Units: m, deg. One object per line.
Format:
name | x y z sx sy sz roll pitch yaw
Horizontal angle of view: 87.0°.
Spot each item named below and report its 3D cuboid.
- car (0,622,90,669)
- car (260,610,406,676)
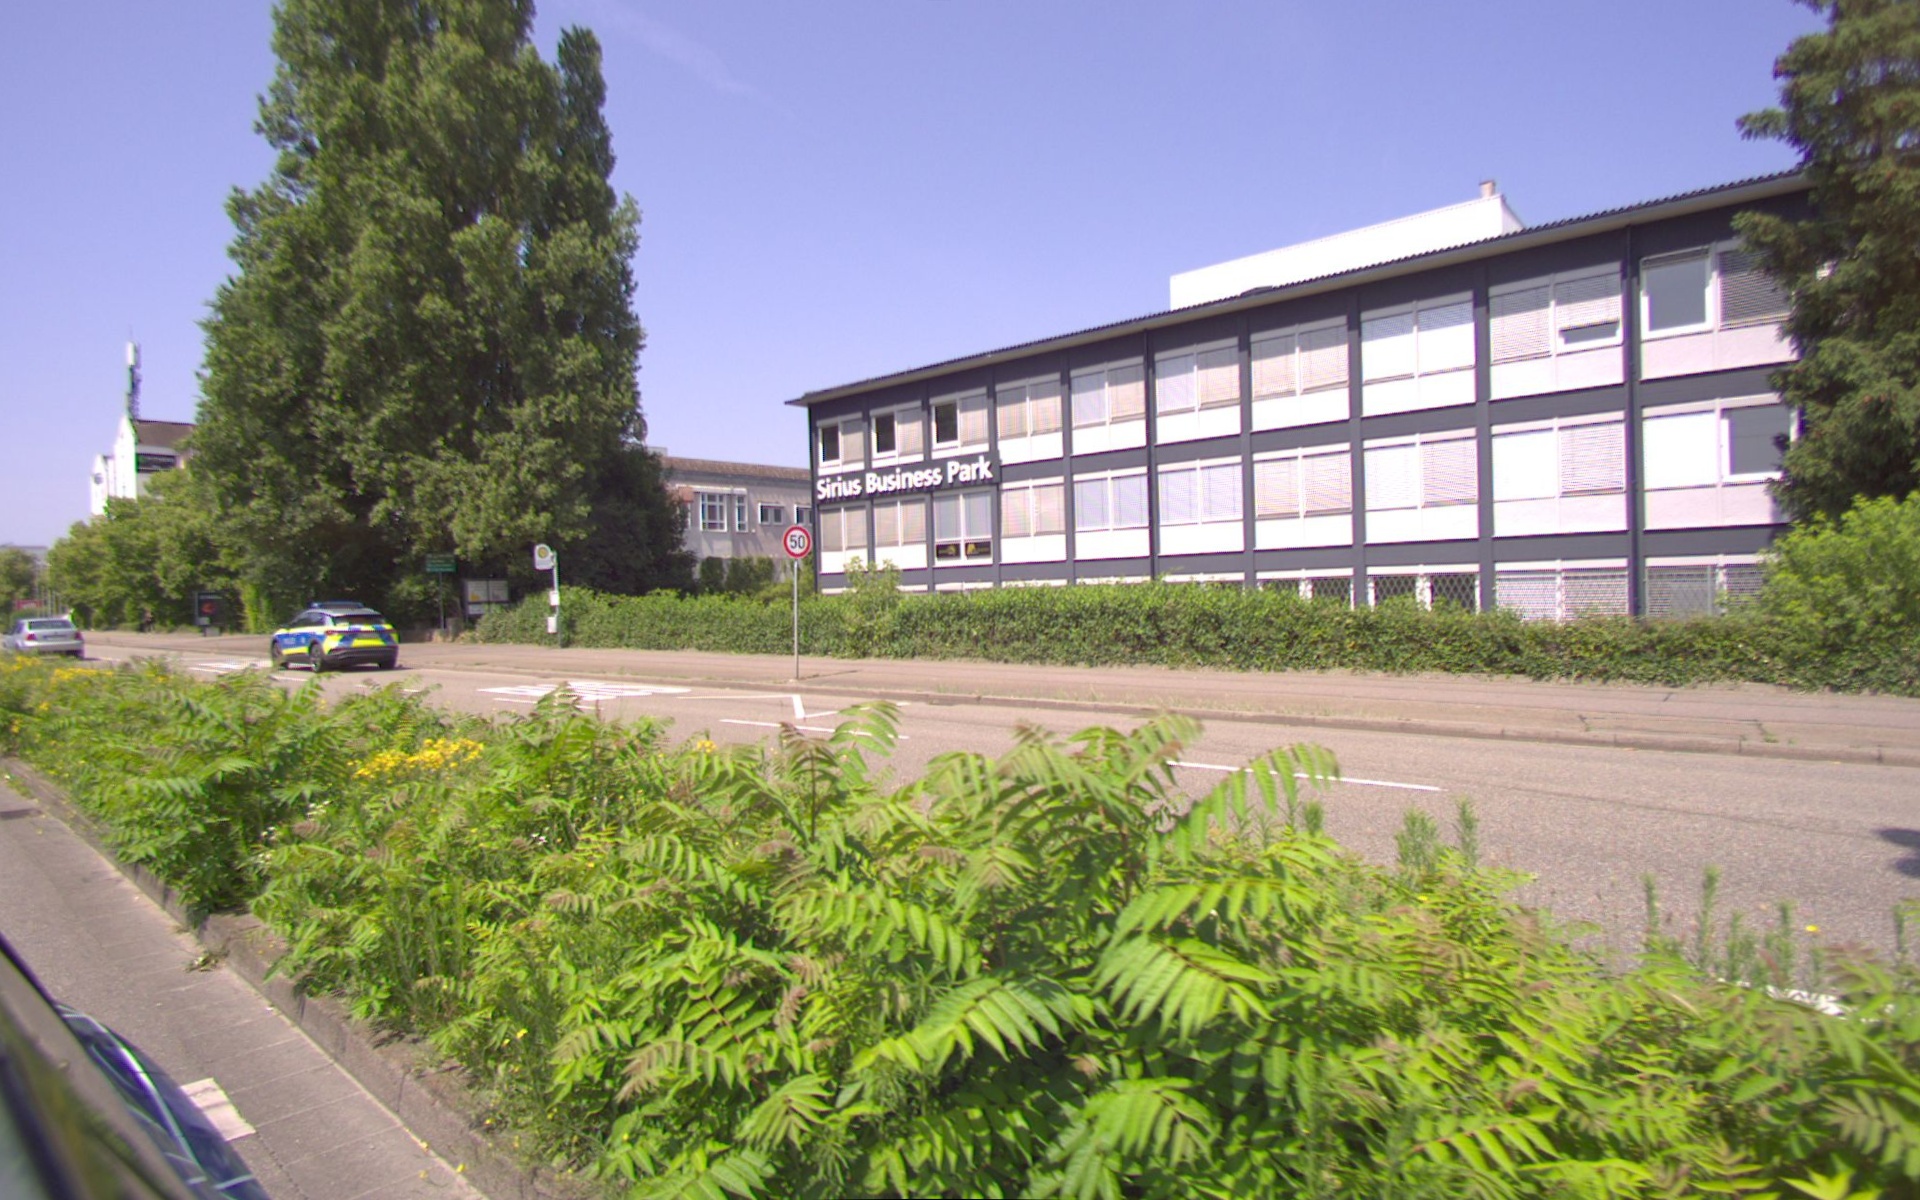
car | -31.097 1.495 34.272 4.086 1.429 1.742 -1 0 38
car | -16.484 1.084 26.536 4.280 1.572 1.876 -1 -1 37
